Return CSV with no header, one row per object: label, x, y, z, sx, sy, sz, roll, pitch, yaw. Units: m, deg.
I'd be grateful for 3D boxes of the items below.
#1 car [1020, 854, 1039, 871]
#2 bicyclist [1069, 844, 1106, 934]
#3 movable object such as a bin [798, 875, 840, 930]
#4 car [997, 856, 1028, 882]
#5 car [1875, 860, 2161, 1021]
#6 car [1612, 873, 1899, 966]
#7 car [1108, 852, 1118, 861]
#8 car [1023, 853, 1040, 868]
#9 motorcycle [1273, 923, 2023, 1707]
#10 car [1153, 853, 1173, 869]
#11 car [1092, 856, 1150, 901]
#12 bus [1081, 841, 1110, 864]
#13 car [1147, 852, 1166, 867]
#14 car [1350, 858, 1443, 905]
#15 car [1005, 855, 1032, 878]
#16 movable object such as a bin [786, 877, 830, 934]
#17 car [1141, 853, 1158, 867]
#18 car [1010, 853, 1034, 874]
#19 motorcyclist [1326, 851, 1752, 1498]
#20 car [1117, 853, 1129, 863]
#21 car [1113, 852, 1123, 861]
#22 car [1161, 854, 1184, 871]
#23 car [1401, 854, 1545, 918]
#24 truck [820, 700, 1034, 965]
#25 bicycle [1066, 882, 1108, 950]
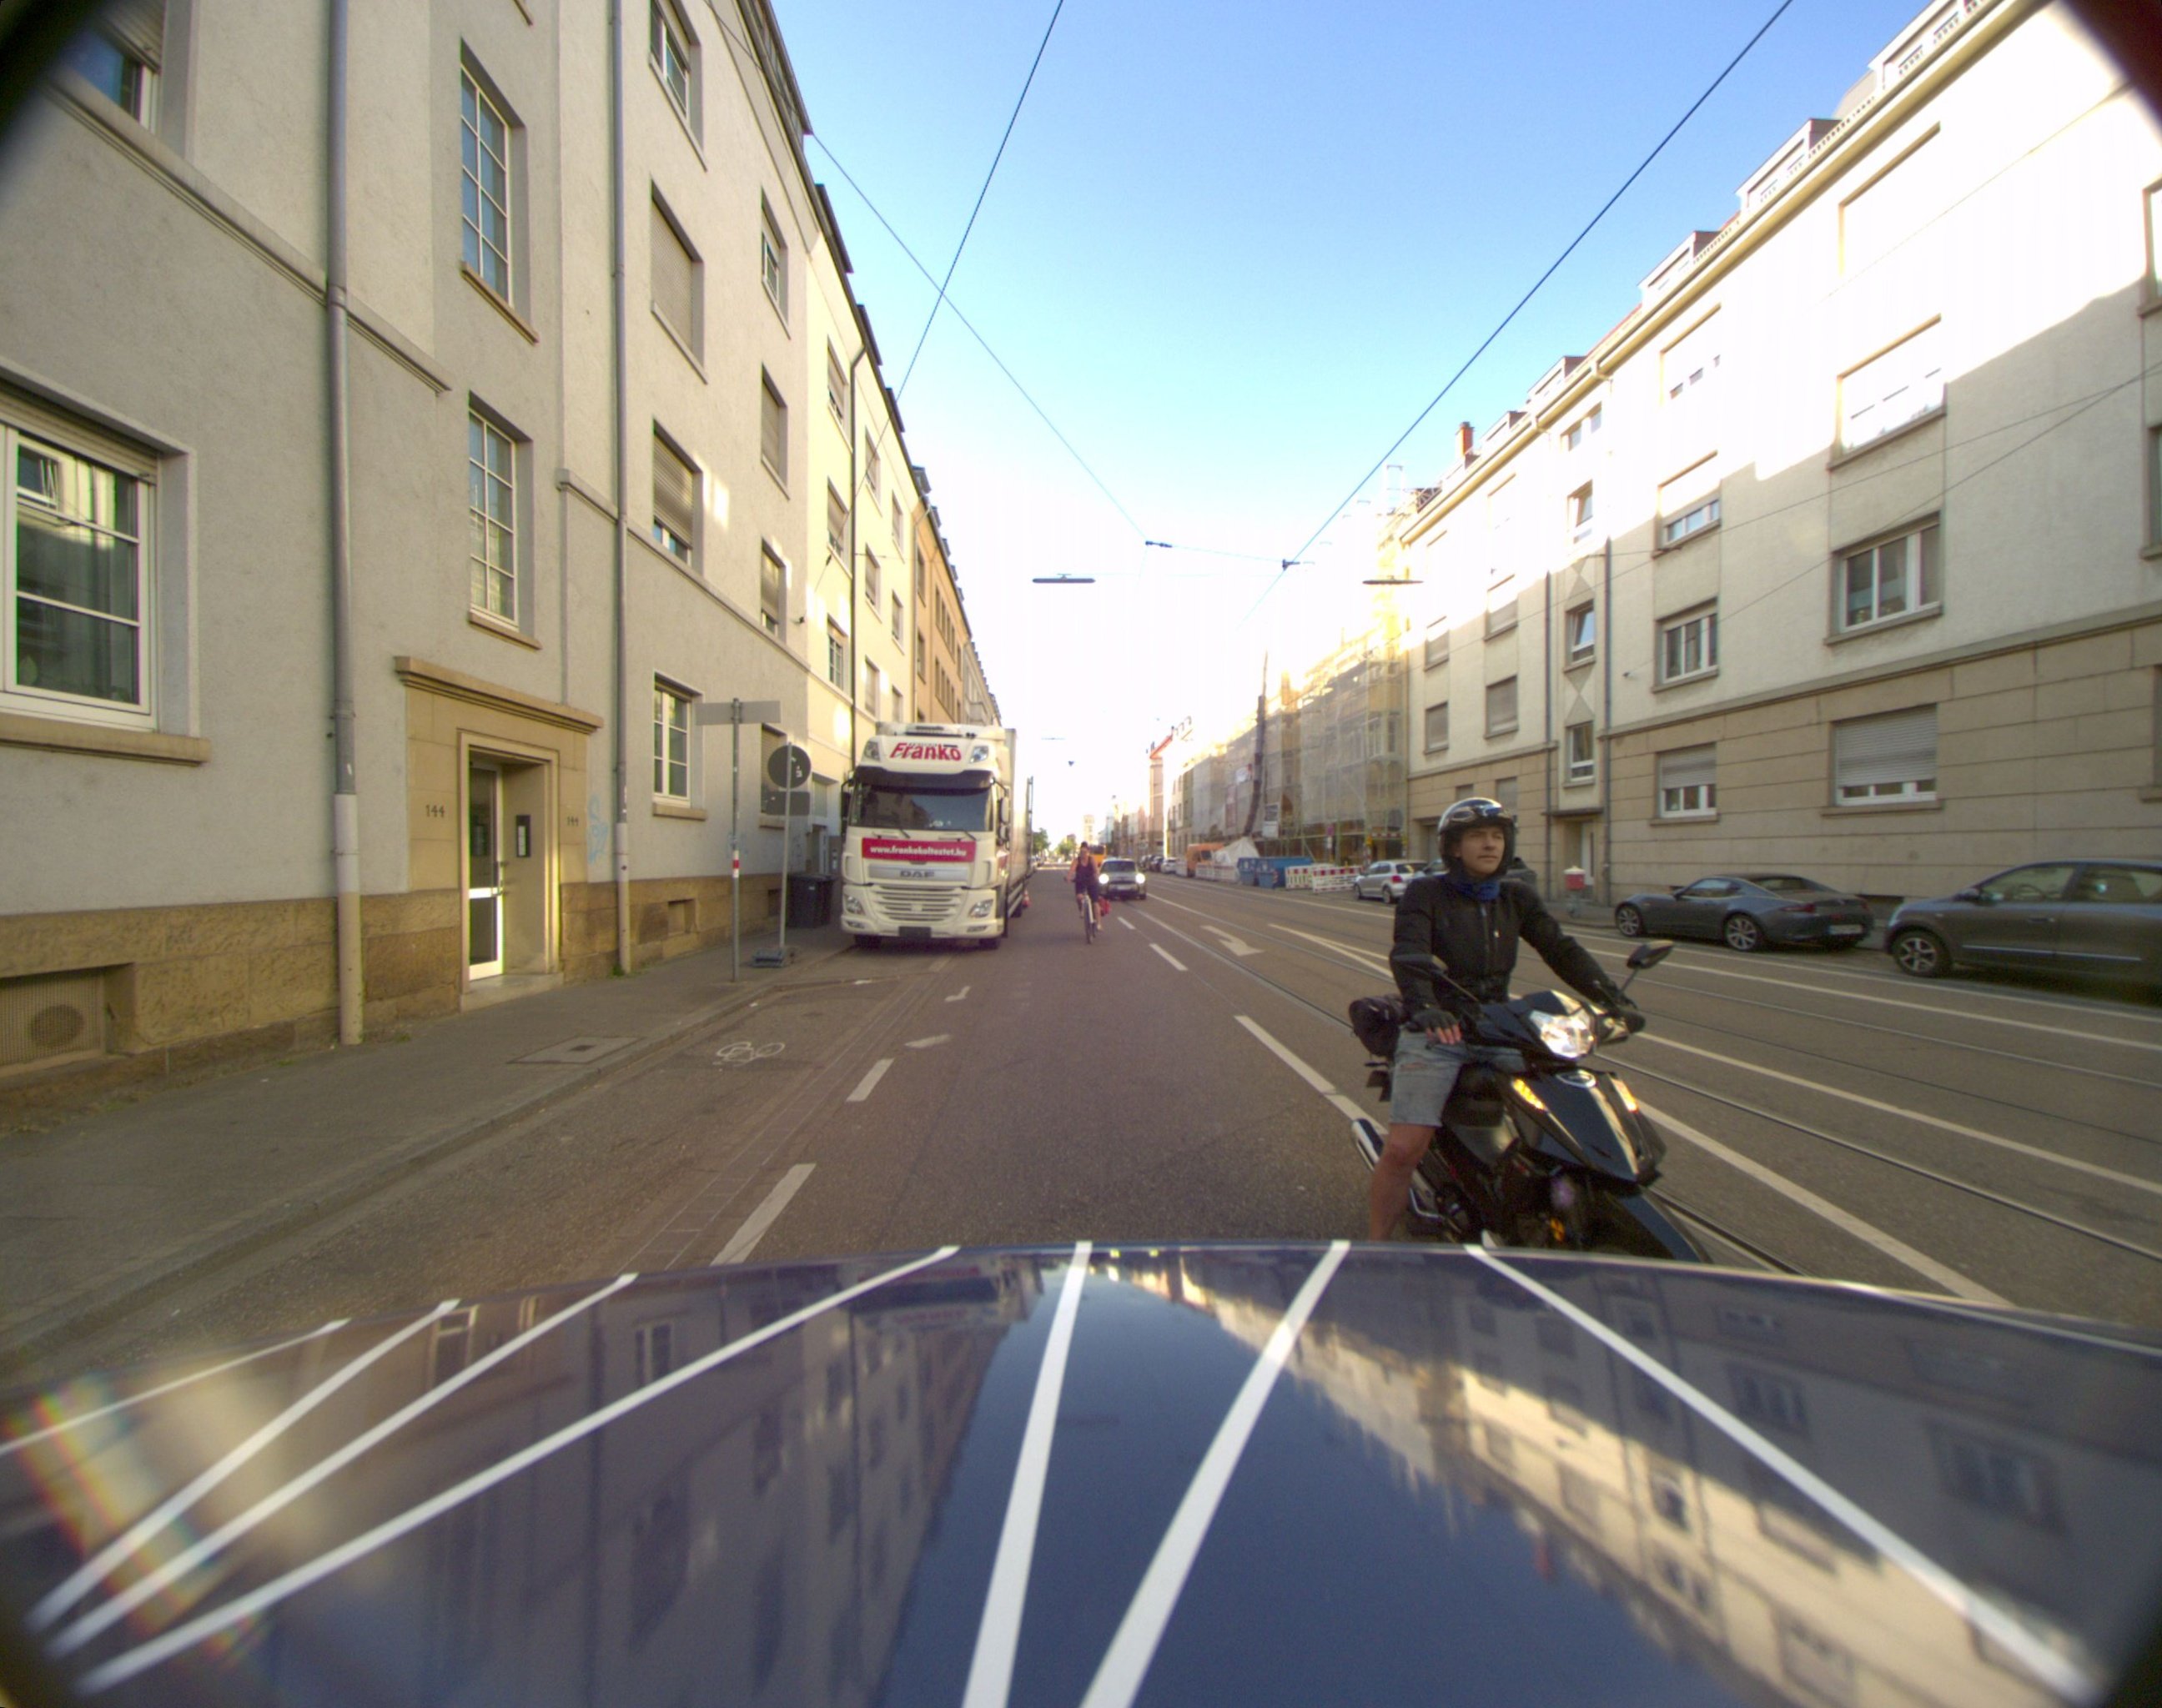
car,-4.870,0.747,72.081,1.685,1.522,4.148,-2,0,-3
bicyclist,0.133,0.630,14.031,0.618,1.620,0.760,0,1,5
movable object such as a bin,-5.408,0.996,15.691,0.666,1.087,0.570,0,1,-2
car,-4.187,0.895,47.170,1.685,1.522,4.148,-2,0,-3
car,11.409,0.862,8.304,1.679,1.519,3.539,-1,0,-3
car,11.172,1.002,12.966,1.520,1.227,3.685,-1,0,-3
car,5.937,0.447,139.328,1.684,1.478,3.966,-2,0,1
car,-5.365,0.648,82.726,1.685,1.522,4.148,-2,0,-3
motorcycle,1.302,0.972,2.503,0.791,1.284,2.273,0,0,1
car,8.252,0.708,76.794,1.684,1.478,3.966,-2,0,1
car,1.369,0.844,27.693,1.685,1.454,4.148,-2,0,-3
bus,1.959,-0.254,112.722,2.755,3.095,19.156,0,0,-3
car,8.230,0.619,83.167,1.684,1.573,3.966,-2,0,1
car,10.601,0.883,25.763,1.543,1.404,3.510,-1,0,-3
car,-4.314,0.827,52.972,1.685,1.522,4.148,-2,0,-3
movable object such as a bin,-5.391,1.004,15.022,0.666,1.087,0.570,0,1,-2
car,7.918,0.656,87.864,1.684,1.478,3.966,-2,0,1
car,-4.523,0.745,59.141,1.685,1.522,4.148,-2,0,-3
motorcyclist,1.302,0.815,2.374,0.791,1.645,0.900,0,1,1
car,6.580,0.626,118.619,1.684,1.478,3.966,-2,0,1
car,6.511,0.469,134.385,1.684,1.478,3.966,-2,0,1
car,8.558,0.763,71.097,1.684,1.478,3.966,-2,0,1
car,10.802,0.807,21.315,1.696,1.590,4.206,-1,0,-3
truck,-2.634,-0.323,17.163,2.782,3.903,11.816,0,0,-2
bicycle,0.139,1.104,14.021,0.618,1.097,1.887,0,0,5
